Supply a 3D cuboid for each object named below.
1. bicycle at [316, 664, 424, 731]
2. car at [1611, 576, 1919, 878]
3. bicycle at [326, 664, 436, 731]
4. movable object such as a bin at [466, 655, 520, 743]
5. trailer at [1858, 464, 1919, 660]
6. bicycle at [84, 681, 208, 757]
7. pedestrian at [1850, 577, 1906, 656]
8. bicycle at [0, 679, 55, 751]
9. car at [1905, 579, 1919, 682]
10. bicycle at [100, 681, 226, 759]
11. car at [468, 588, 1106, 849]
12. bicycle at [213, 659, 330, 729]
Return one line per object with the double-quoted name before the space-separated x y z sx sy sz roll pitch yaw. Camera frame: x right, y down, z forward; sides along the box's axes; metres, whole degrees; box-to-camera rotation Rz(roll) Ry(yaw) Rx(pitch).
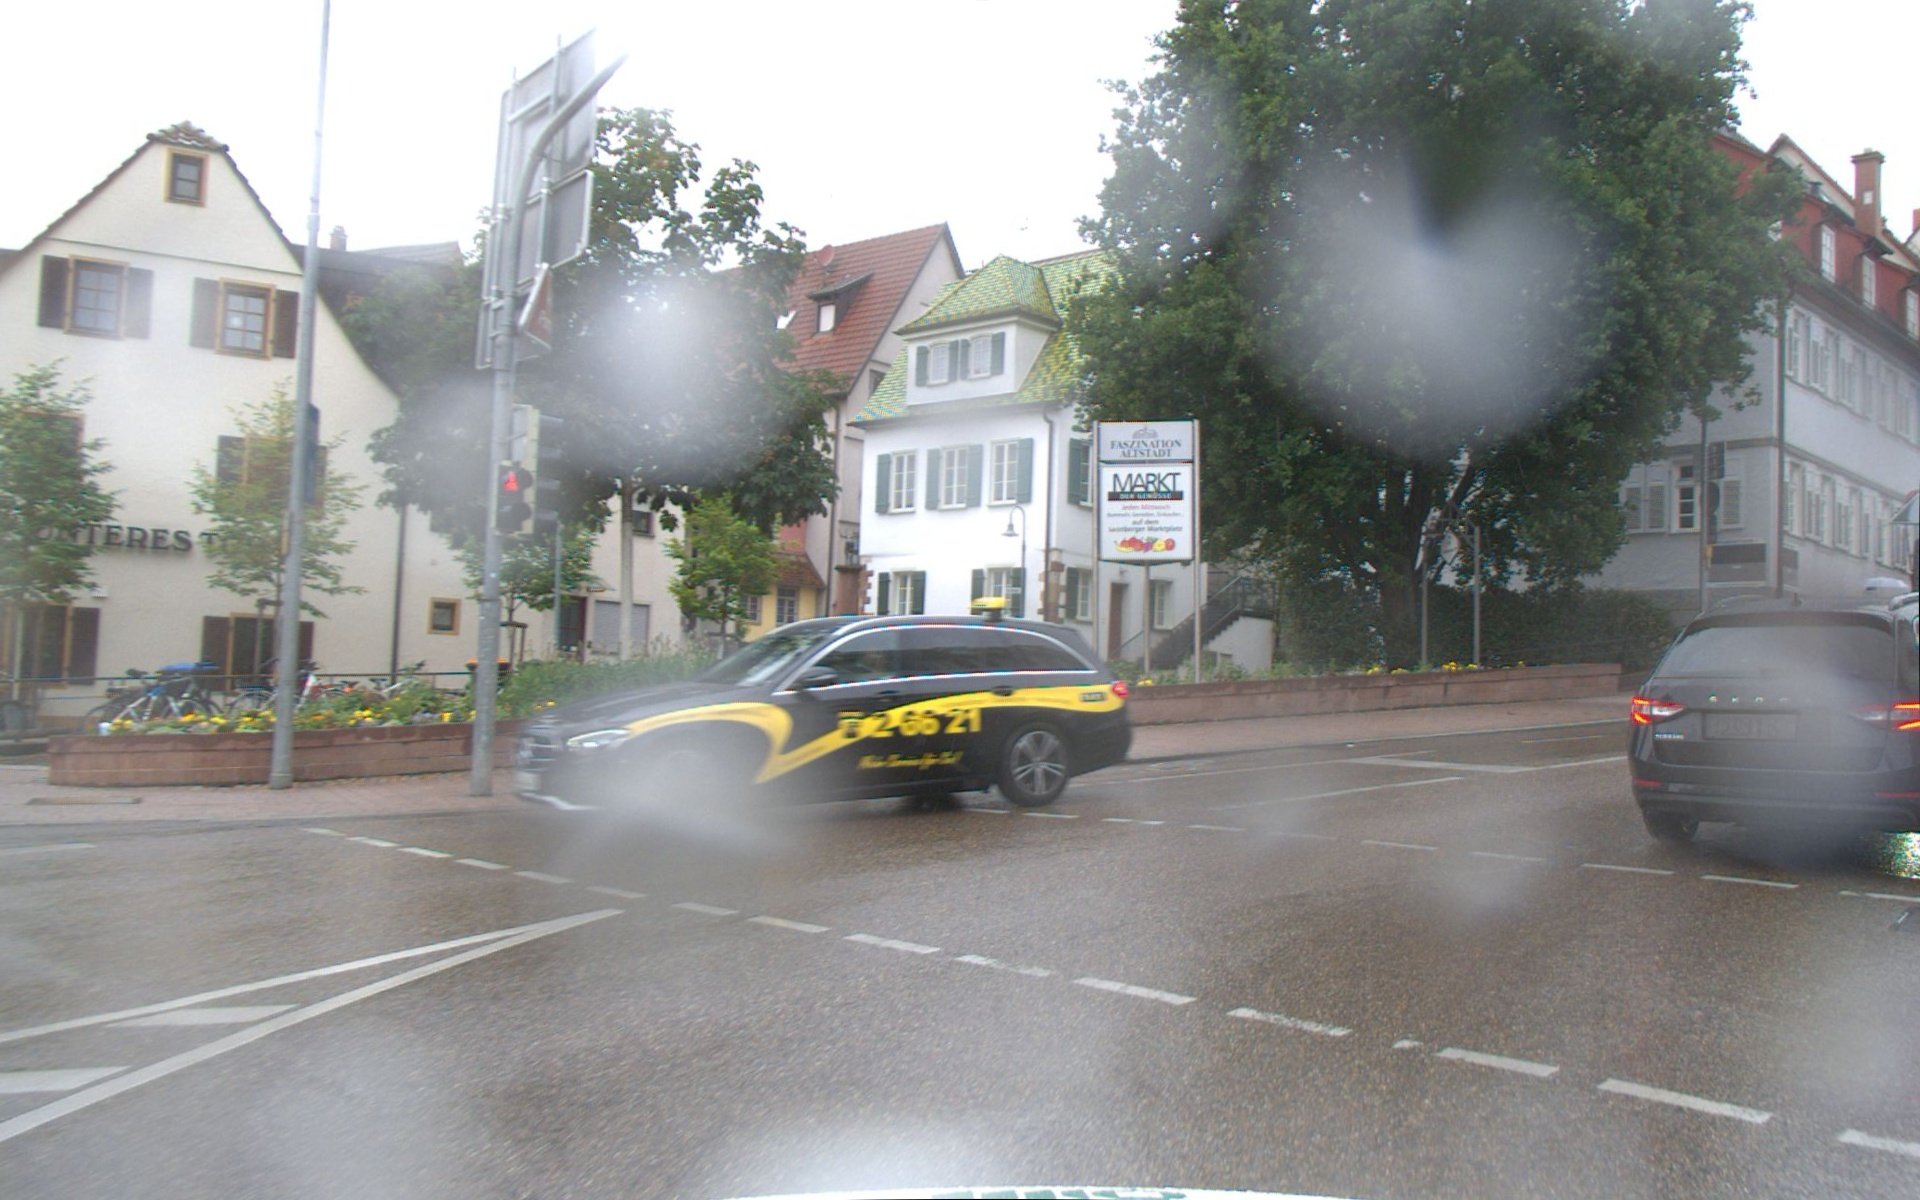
"bicycle" -8.710 1.436 24.453 0.386 0.928 1.460 3 0 43
"car" 5.721 0.616 10.458 1.856 1.473 4.337 1 2 38
"bicycle" -8.437 1.424 24.136 0.386 0.928 1.460 3 0 43
"movable object such as a bin" -7.261 1.540 25.715 0.673 1.299 0.744 4 -2 -20
"trailer" 19.220 -0.698 32.034 4.540 3.595 1.968 0 0 -44
"bicycle" -10.757 1.558 21.898 0.384 0.928 1.466 3 0 31
"pedestrian" 18.535 0.313 33.401 1.036 1.556 0.699 -1 1 -42
"bicycle" -11.877 1.416 20.279 0.330 0.833 1.436 4 0 22
"car" 15.477 0.560 24.285 3.836 1.453 1.642 5 -3 -41
"bicycle" -10.401 1.551 21.618 0.384 0.928 1.466 3 0 31
"car" -1.241 0.738 12.415 4.356 1.565 1.978 -1 1 -32
"bicycle" -9.671 1.323 23.266 0.386 0.928 1.460 3 0 43
